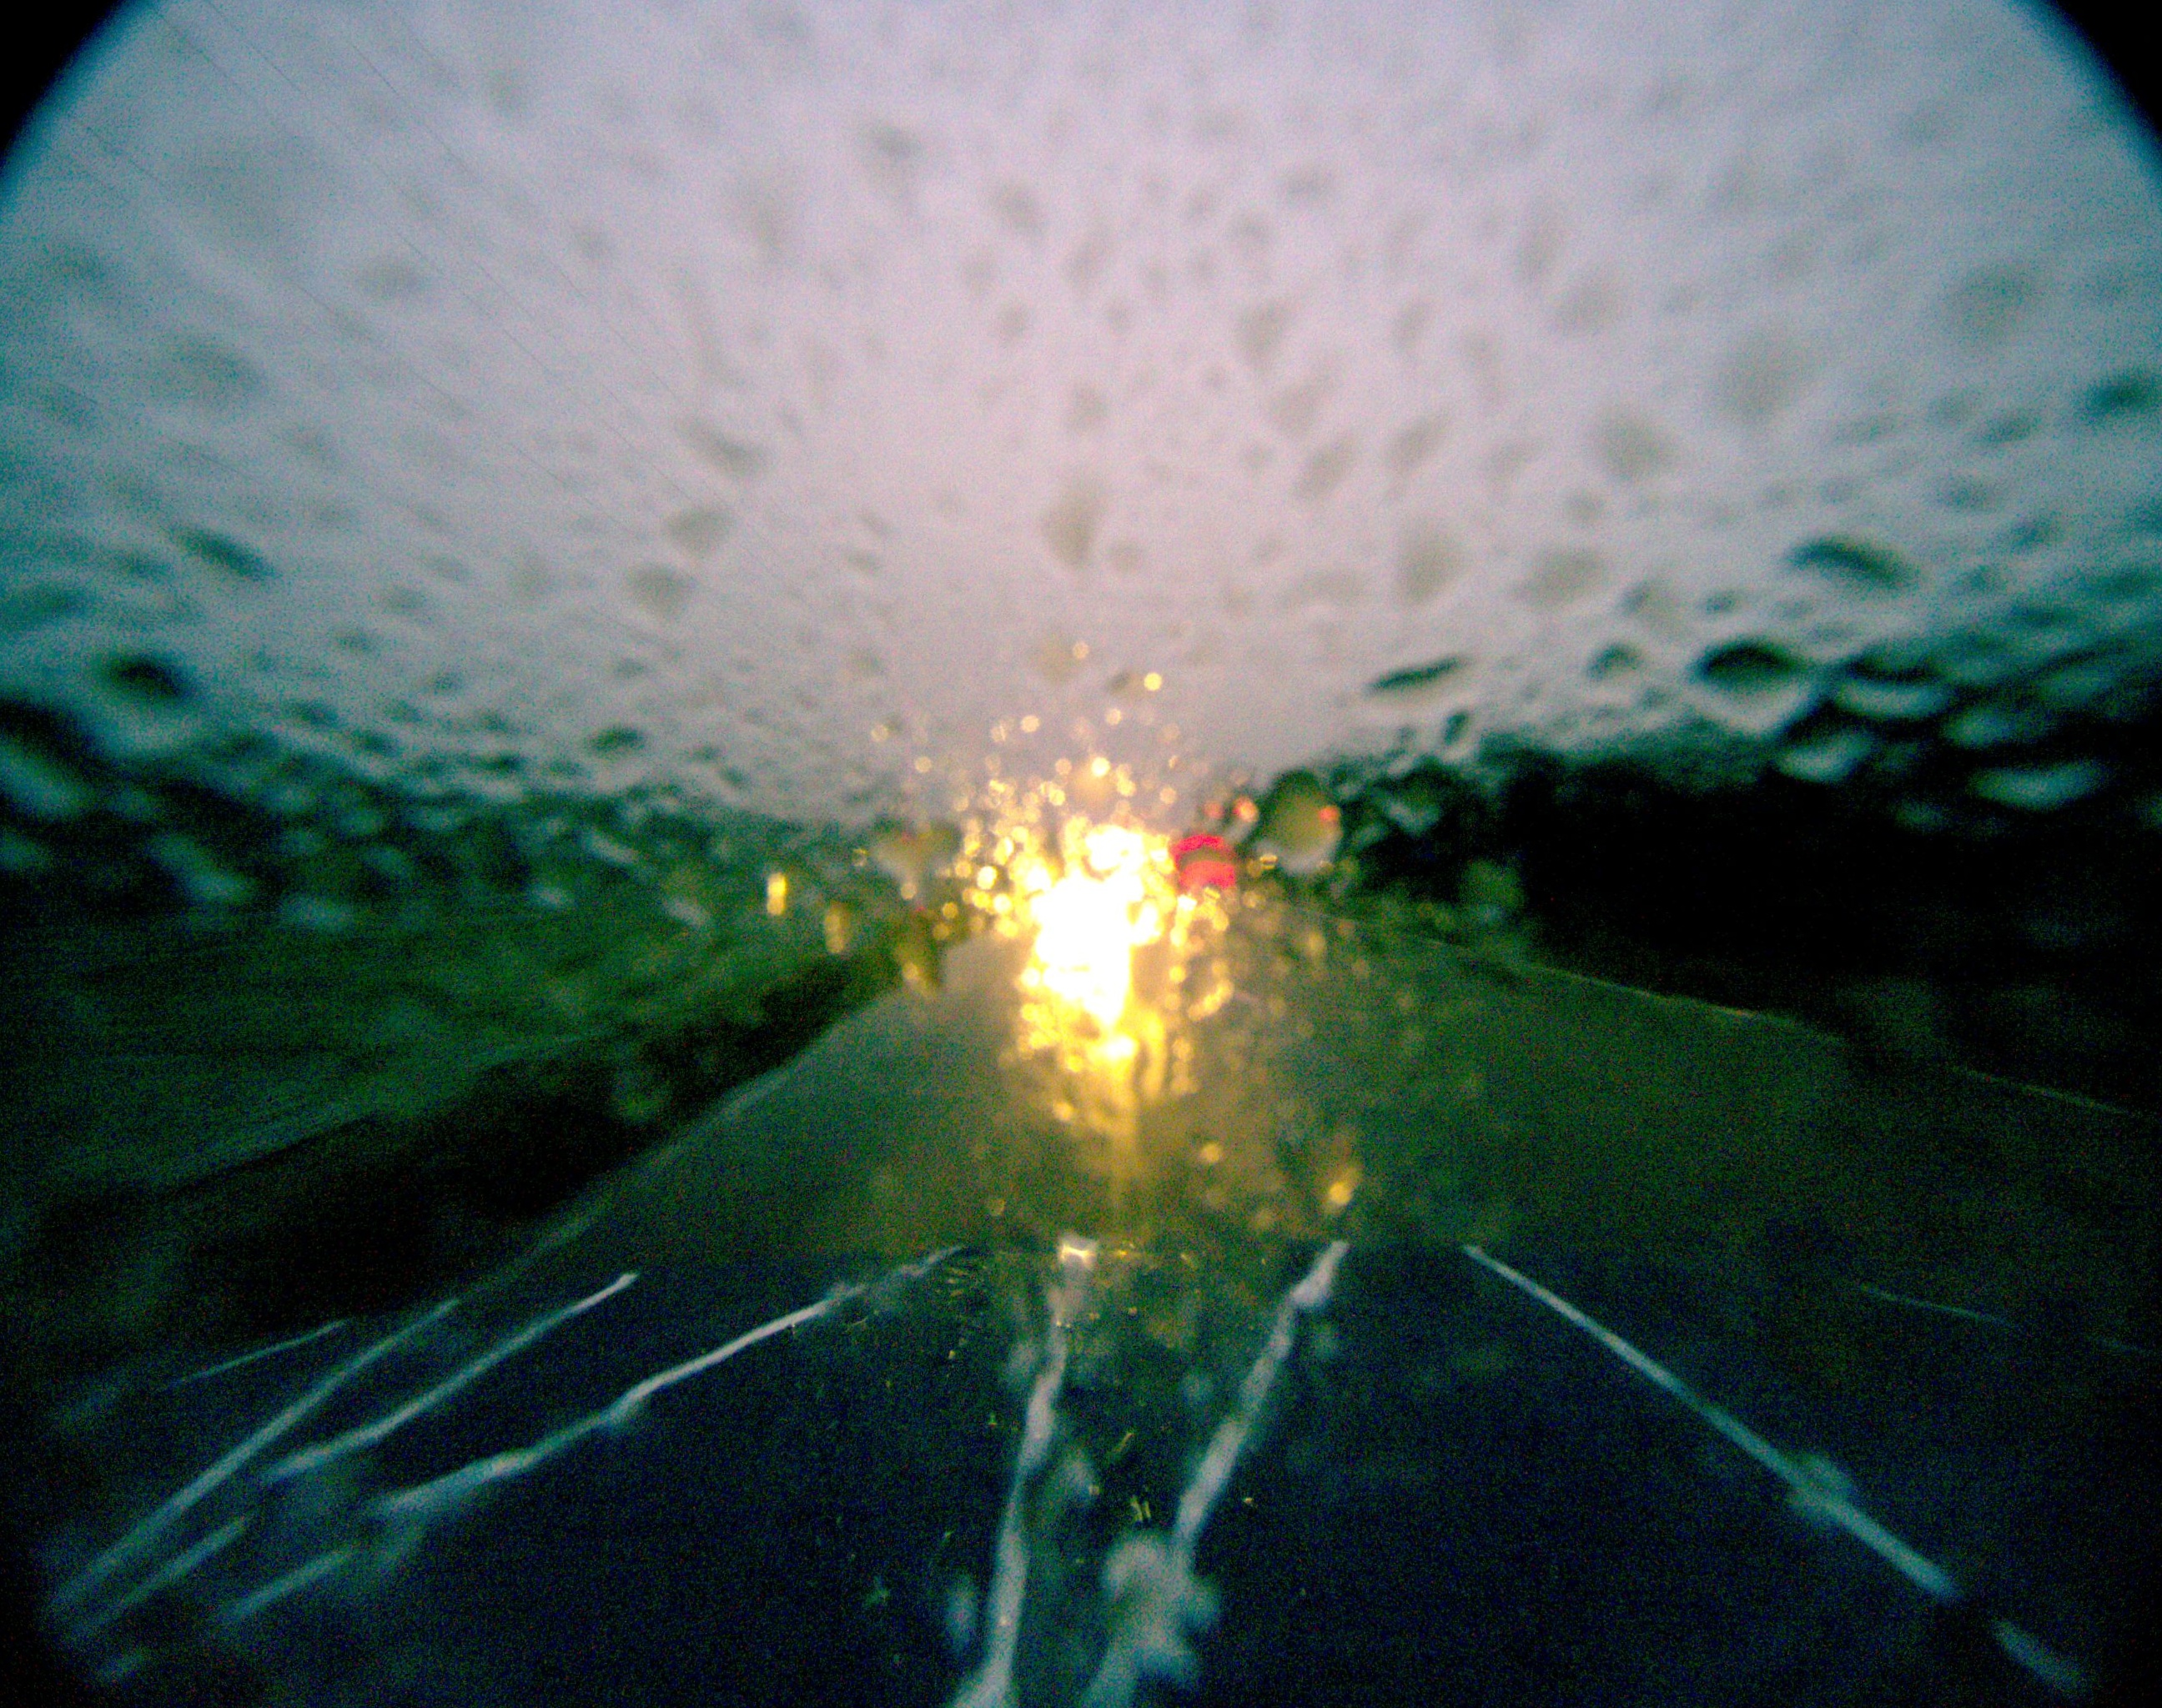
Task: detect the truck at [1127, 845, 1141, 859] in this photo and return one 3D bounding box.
[{"bbox_3d":[9.969,-0.373,143.119,2.244,2.453,5.374,-2,0,2],"label":"truck"}]

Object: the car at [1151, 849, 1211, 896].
[{"bbox_3d":[3.934,0.703,30.491,1.867,1.690,4.468,-2,0,1],"label":"car"}]

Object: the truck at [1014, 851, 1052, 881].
[{"bbox_3d":[-4.389,1.010,71.652,2.510,2.556,10.806,-2,0,1],"label":"truck"}]

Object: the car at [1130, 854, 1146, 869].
[{"bbox_3d":[6.919,0.865,92.043,1.790,1.740,4.259,-1,0,3],"label":"car"}]

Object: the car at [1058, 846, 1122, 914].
[{"bbox_3d":[0.368,0.777,25.138,1.856,2.002,4.001,-2,0,3],"label":"car"}]
